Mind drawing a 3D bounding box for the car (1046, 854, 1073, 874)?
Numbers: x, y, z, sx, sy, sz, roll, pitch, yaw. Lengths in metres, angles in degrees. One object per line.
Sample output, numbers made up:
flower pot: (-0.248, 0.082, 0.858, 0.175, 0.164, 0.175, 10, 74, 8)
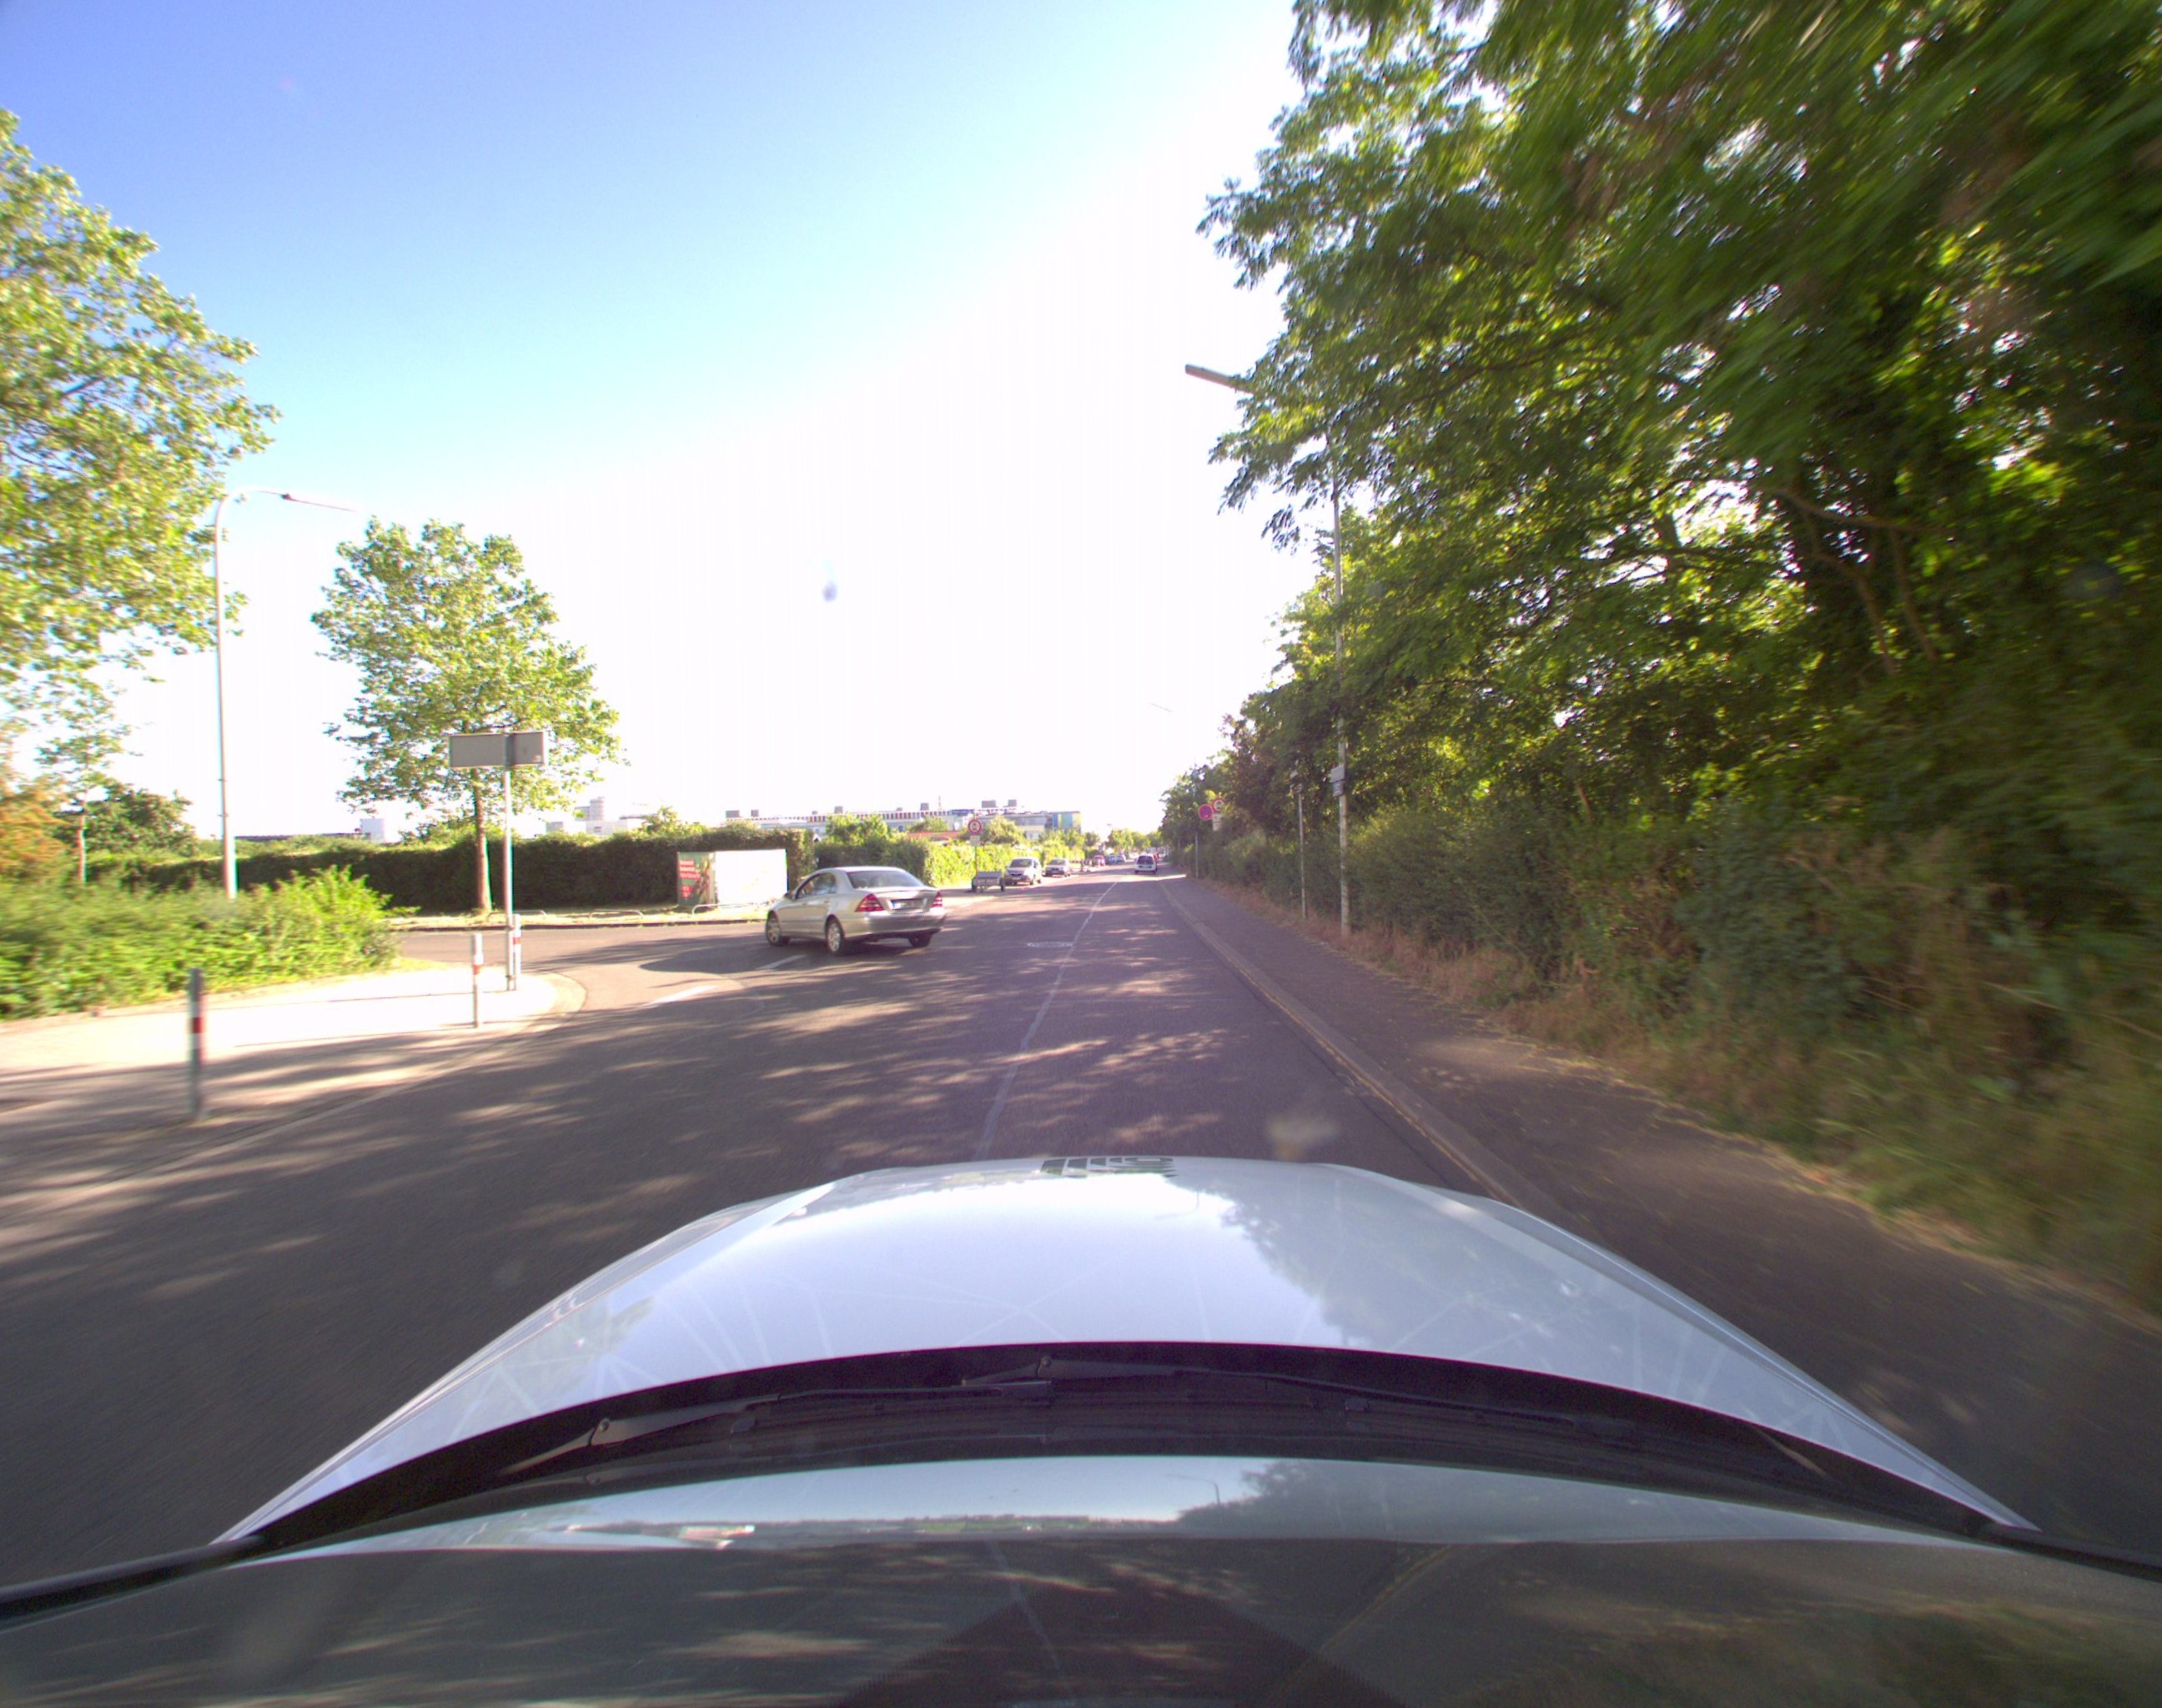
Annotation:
car: (-1.689, 0.796, 65.166, 1.635, 1.556, 4.423, -1, -1, 5)

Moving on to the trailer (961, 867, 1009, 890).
trailer: (-4.361, 1.109, 37.353, 1.535, 0.953, 2.652, 1, -1, 8)

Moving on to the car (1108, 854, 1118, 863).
car: (5.799, 0.810, 147.081, 1.552, 1.495, 3.763, -1, -1, 5)

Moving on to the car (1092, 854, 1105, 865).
car: (2.432, 0.787, 111.906, 1.552, 1.495, 3.575, -1, -1, 5)

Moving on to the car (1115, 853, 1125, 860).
car: (8.491, 0.528, 176.353, 1.845, 1.428, 4.139, 1, -1, 5)

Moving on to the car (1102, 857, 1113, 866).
car: (4.195, 1.192, 130.079, 1.552, 1.495, 3.575, 2, 0, 5)

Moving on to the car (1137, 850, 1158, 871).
car: (5.310, 0.526, 64.852, 1.548, 1.538, 3.561, 2, 0, 5)

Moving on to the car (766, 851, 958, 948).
car: (-3.986, 0.757, 14.411, 1.752, 1.453, 3.953, -1, -1, -40)

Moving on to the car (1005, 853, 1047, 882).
car: (-3.179, 0.781, 47.666, 1.635, 1.600, 4.320, 1, 0, 7)
